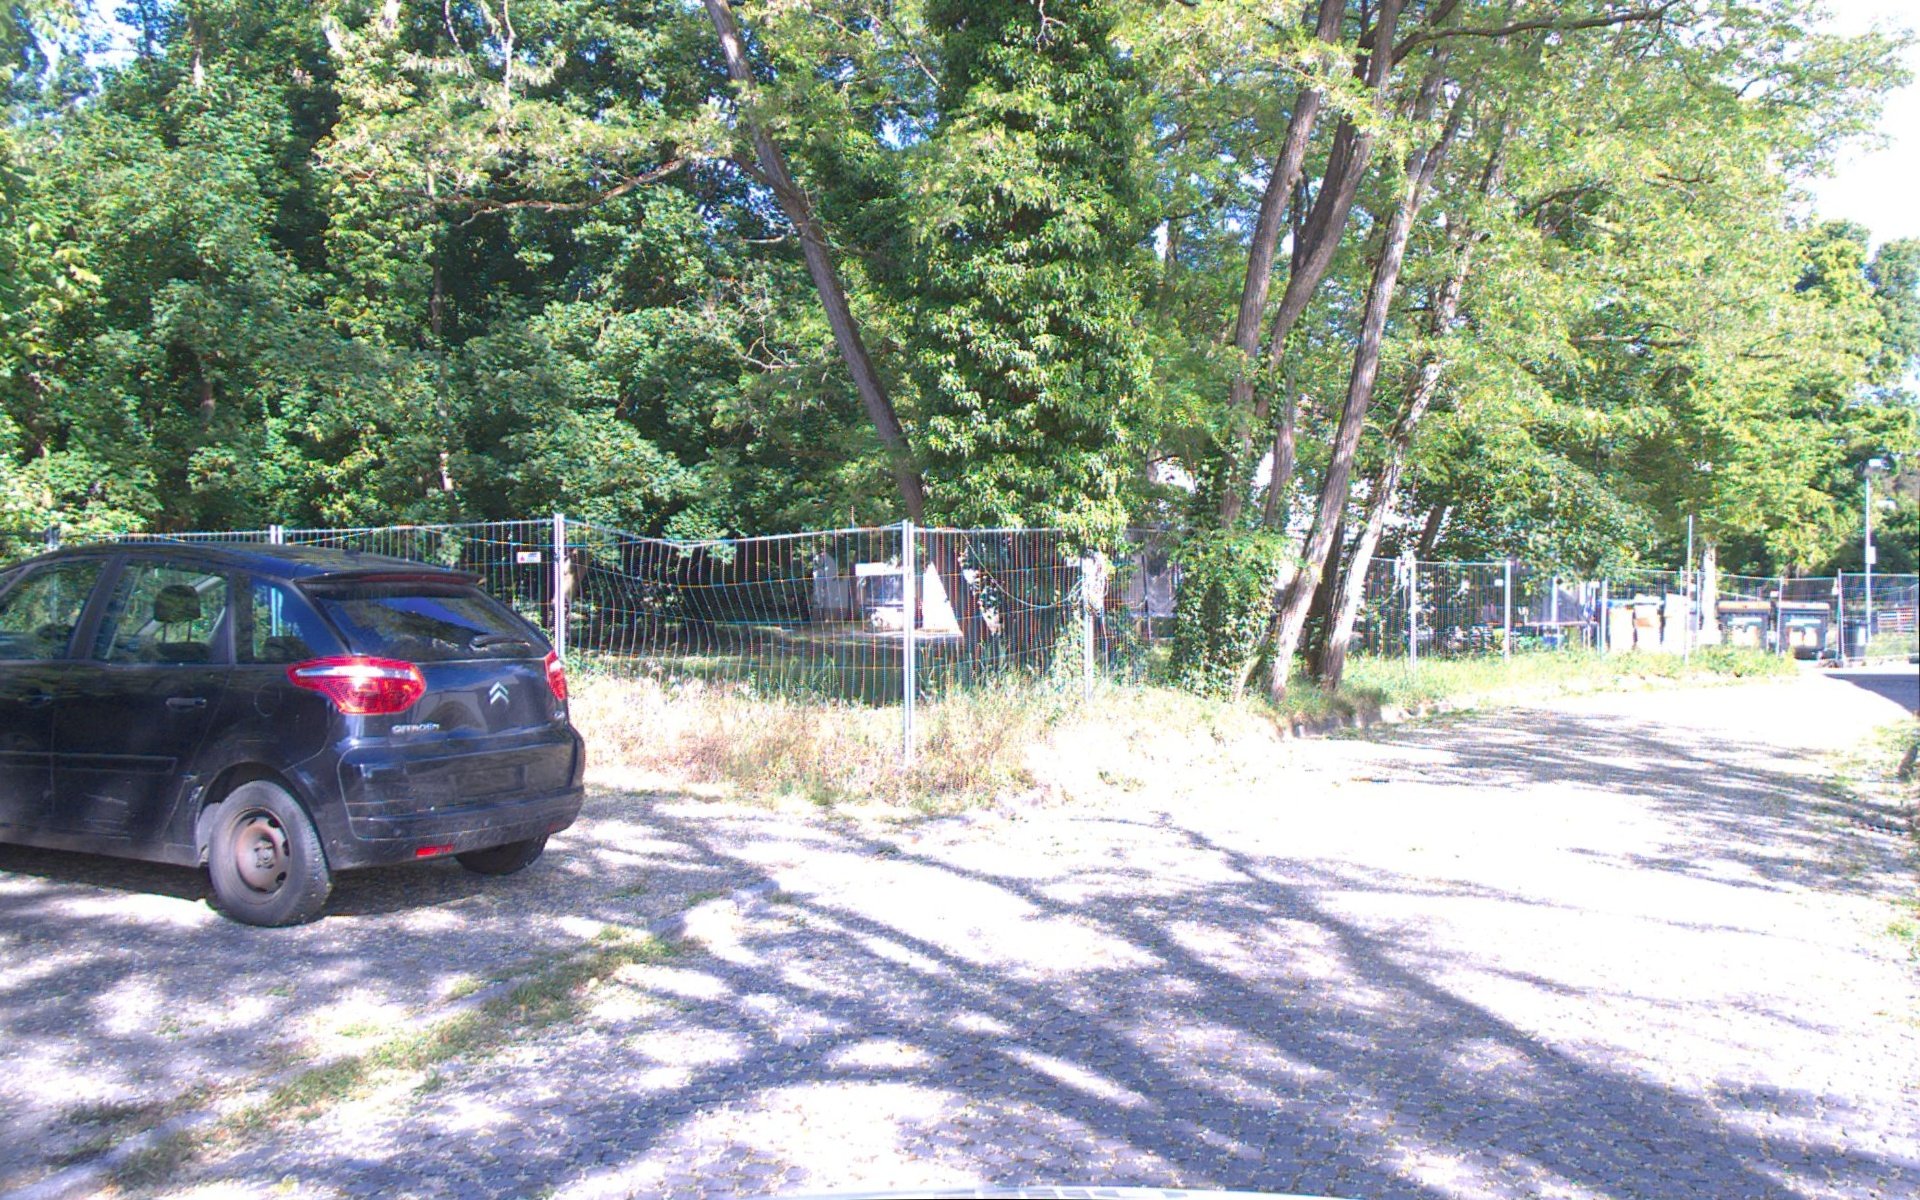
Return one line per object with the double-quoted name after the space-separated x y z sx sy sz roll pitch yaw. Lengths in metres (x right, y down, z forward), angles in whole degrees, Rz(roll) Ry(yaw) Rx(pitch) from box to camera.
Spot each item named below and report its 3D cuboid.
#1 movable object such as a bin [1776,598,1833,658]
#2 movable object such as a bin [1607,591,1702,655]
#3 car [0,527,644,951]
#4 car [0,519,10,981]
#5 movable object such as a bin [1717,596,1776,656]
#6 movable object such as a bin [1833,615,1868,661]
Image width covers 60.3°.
21.236 0.694 41.606 1.219 1.470 0.702 0 0 23 "movable object such as a bin"
18.070 0.577 43.087 2.241 1.619 1.174 1 0 23 "movable object such as a bin"
-3.925 0.511 8.446 4.199 1.680 1.793 3 1 22 "car"
-5.474 0.497 5.768 4.097 1.685 1.815 2 1 27 "car"
20.116 0.655 42.325 1.310 1.510 0.807 0 0 22 "movable object such as a bin"
22.131 0.947 41.113 0.723 1.116 0.817 0 0 32 "movable object such as a bin"
